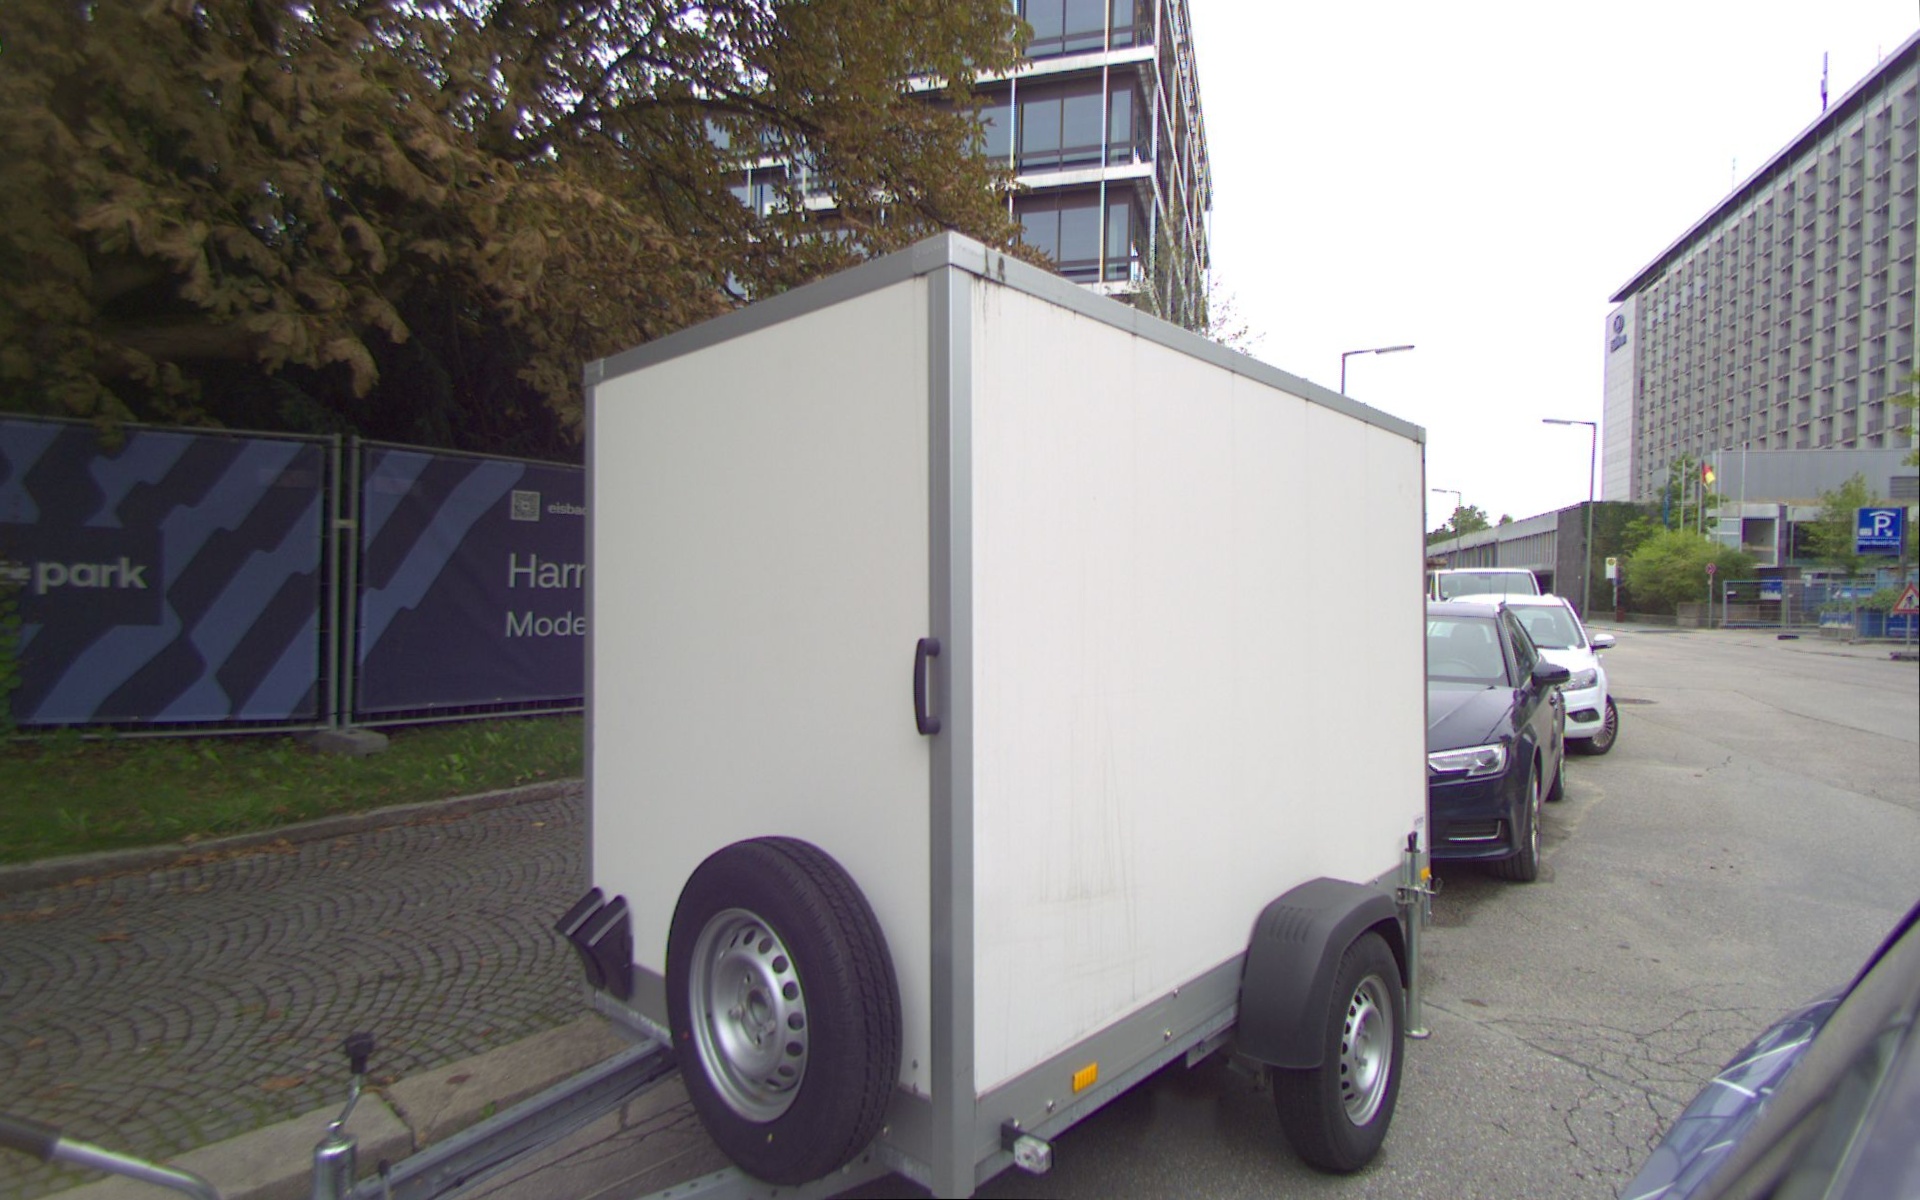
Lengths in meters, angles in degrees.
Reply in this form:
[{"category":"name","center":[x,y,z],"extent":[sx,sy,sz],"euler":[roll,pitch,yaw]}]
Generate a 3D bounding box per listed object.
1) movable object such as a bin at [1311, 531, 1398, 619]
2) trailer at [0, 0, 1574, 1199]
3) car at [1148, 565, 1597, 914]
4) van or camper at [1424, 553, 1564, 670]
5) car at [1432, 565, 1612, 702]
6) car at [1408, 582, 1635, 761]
[{"category":"movable object such as a bin","center":[18.761,-1.180,47.763],"extent":[3.218,3.762,8.931],"euler":[1,2,25]},{"category":"trailer","center":[-0.163,0.226,2.522],"extent":[1.810,2.038,4.756],"euler":[2,2,45]},{"category":"car","center":[2.983,0.575,6.652],"extent":[1.866,1.455,4.275],"euler":[3,2,34]},{"category":"van or camper","center":[10.689,0.131,20.619],"extent":[1.977,2.038,5.336],"euler":[1,2,22]},{"category":"car","center":[8.374,0.375,15.462],"extent":[1.979,1.749,4.413],"euler":[1,2,24]},{"category":"car","center":[6.037,0.582,10.931],"extent":[1.757,1.504,4.176],"euler":[2,1,30]}]
